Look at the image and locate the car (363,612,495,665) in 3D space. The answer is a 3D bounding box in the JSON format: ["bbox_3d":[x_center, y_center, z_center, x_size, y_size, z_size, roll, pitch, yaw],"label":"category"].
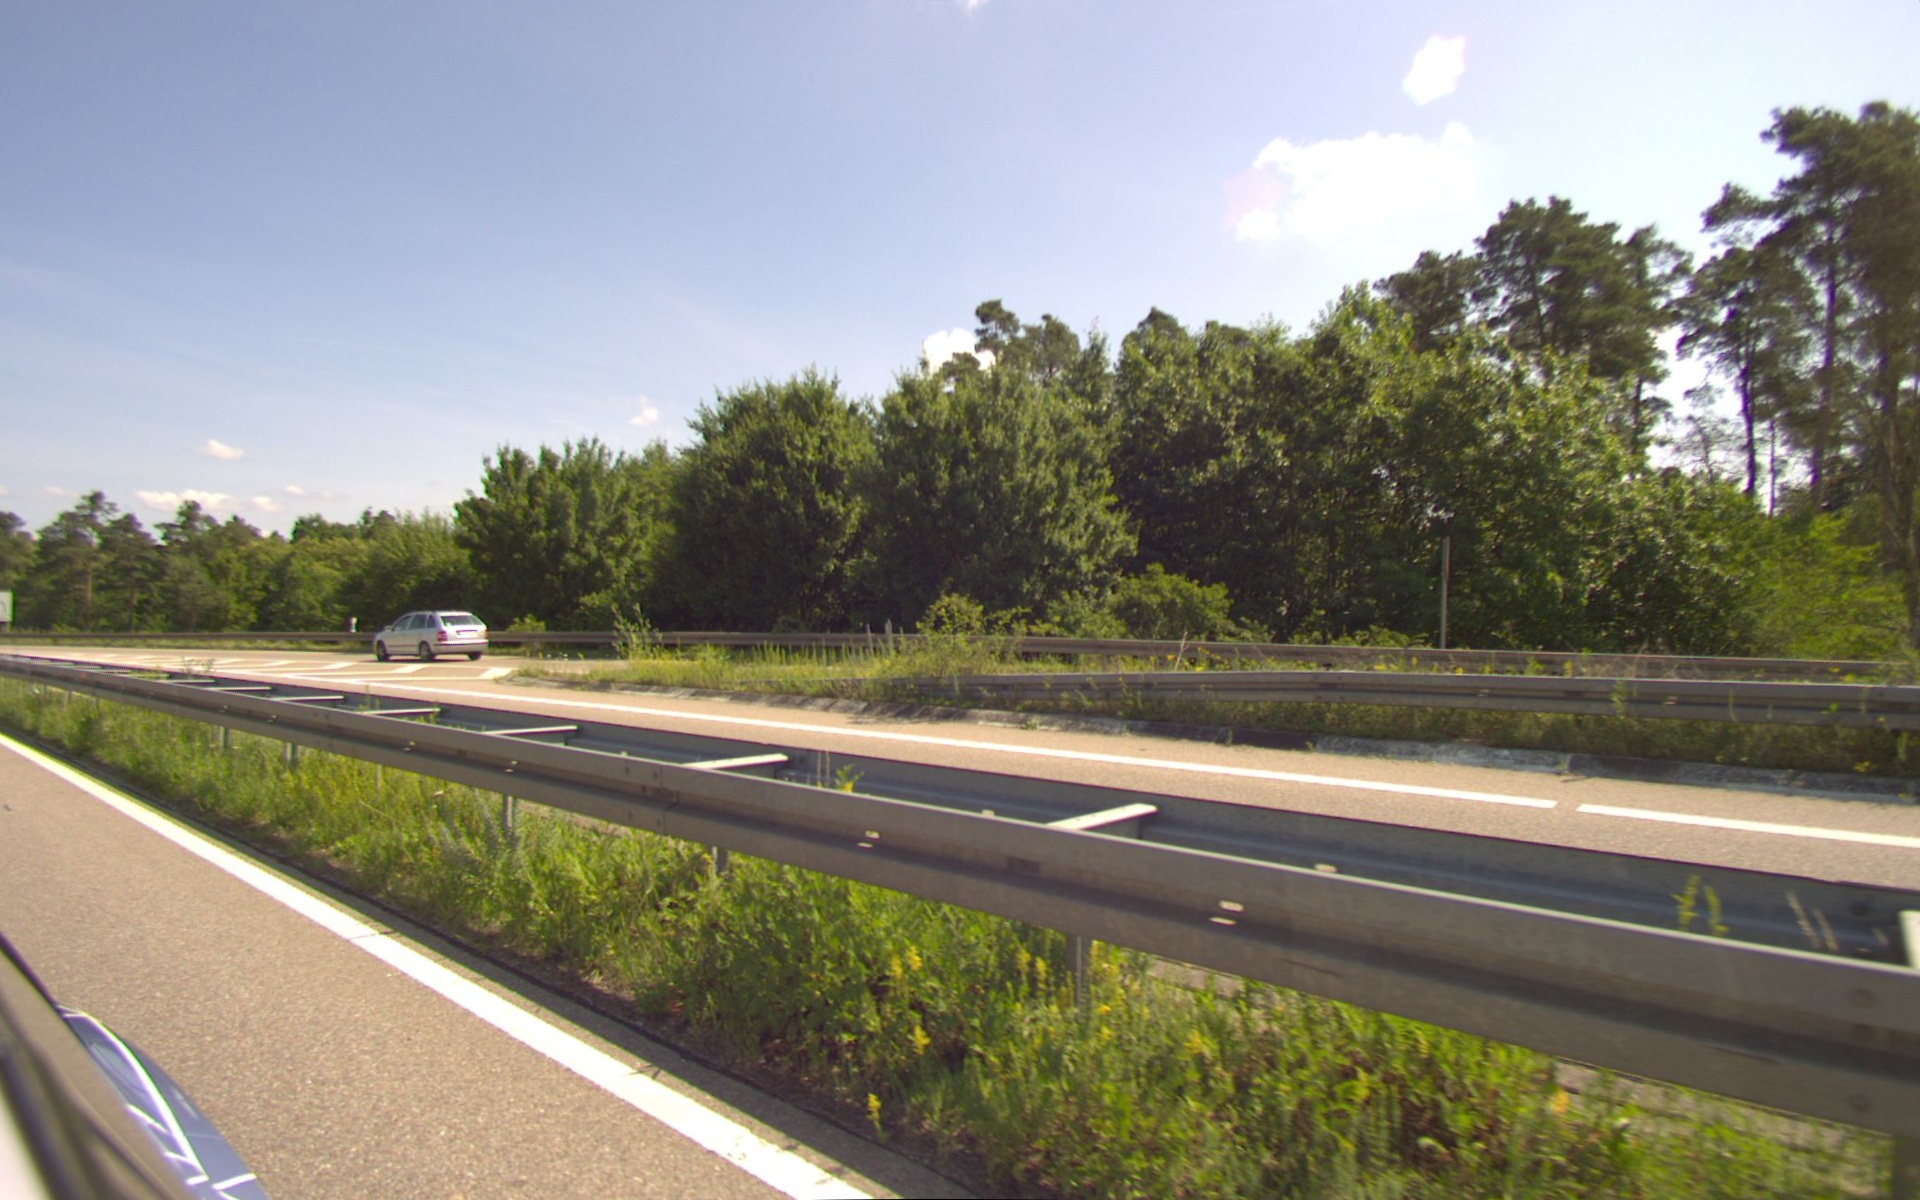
[{"bbox_3d":[-15.628,1.129,29.701,4.200,1.439,1.665,-2,-1,34],"label":"car"}]
